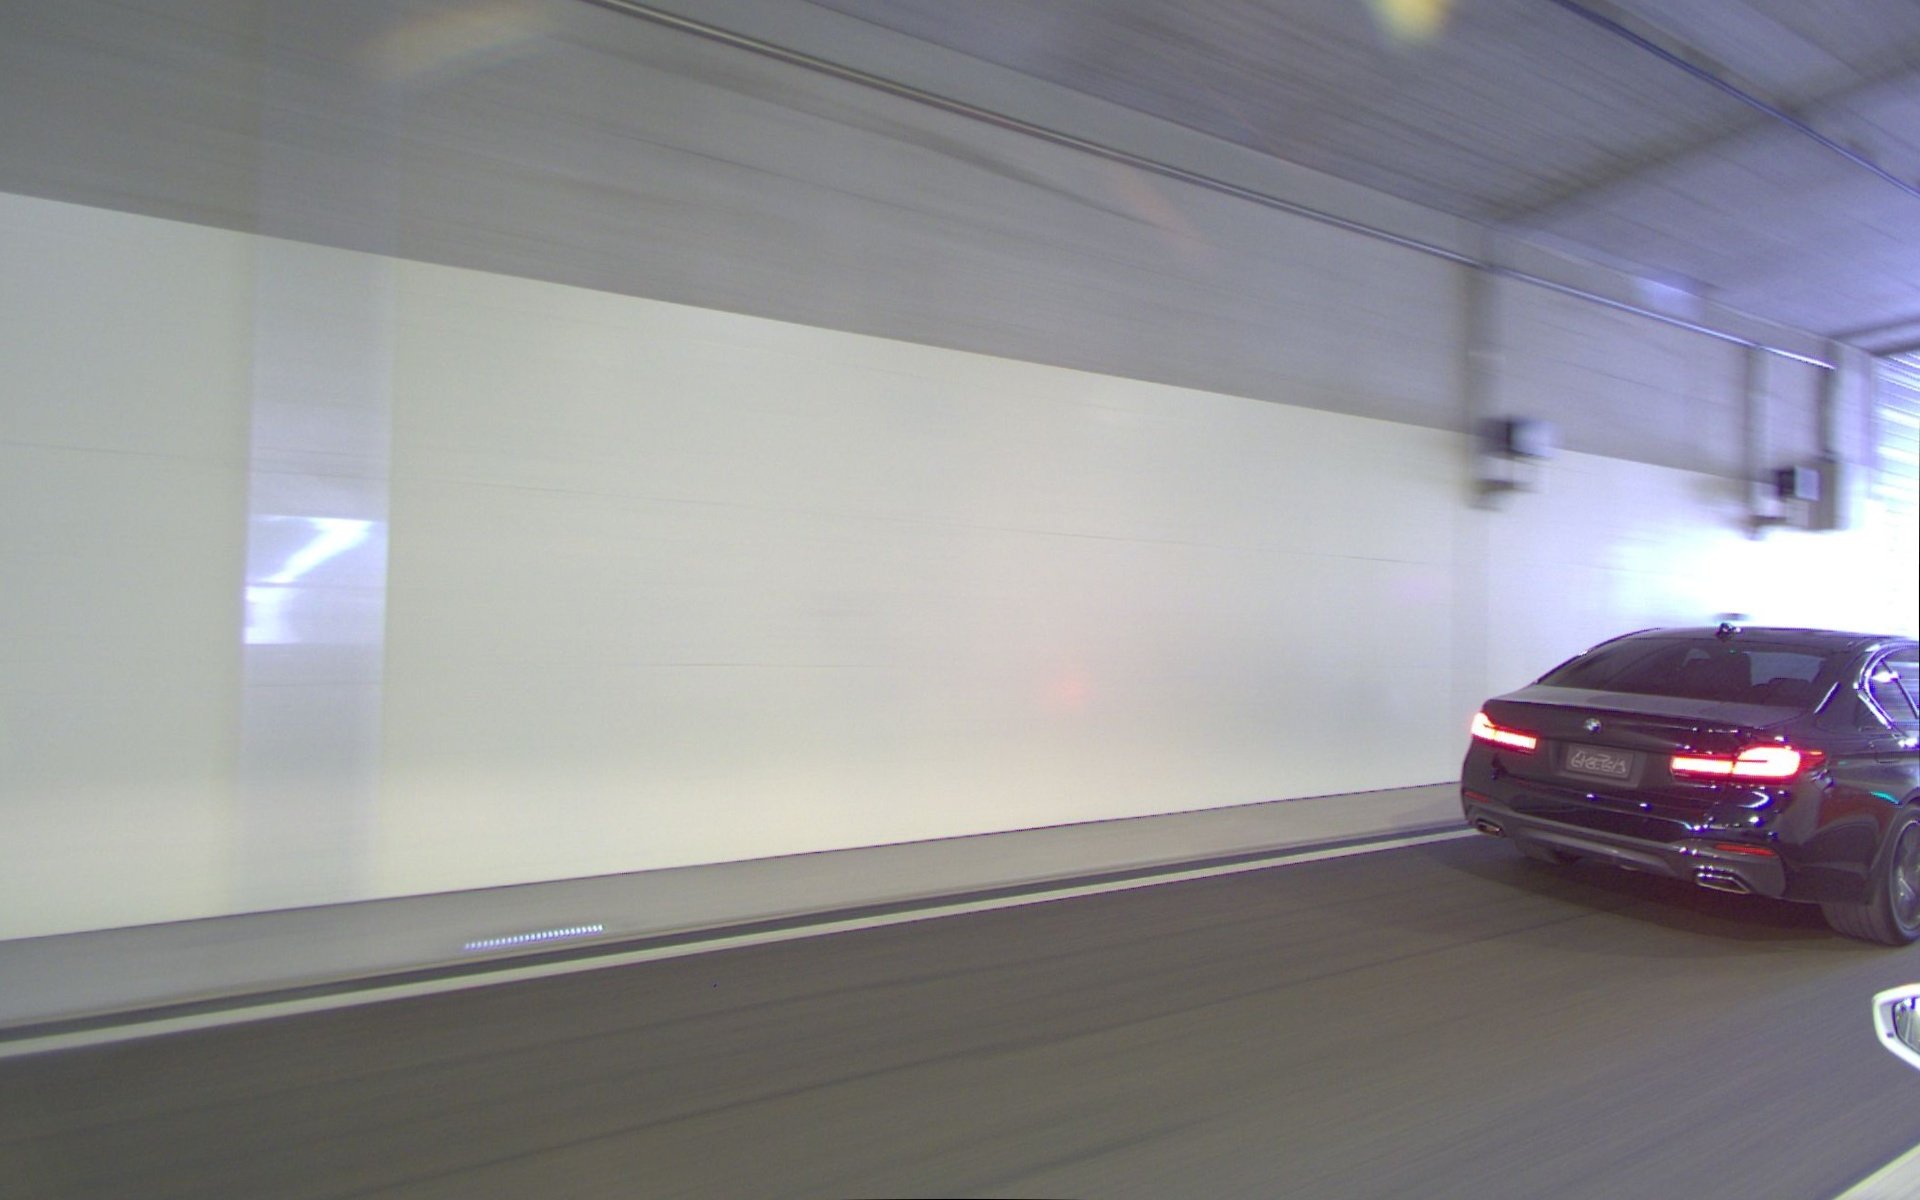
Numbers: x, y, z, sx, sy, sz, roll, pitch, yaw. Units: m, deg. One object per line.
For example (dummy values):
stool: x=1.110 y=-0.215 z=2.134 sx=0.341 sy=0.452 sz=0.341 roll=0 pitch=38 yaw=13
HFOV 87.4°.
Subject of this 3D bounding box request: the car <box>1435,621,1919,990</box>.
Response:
car: x=5.128 y=0.909 z=5.989 sx=4.793 sy=1.441 sz=1.688 roll=2 pitch=0 yaw=-30
